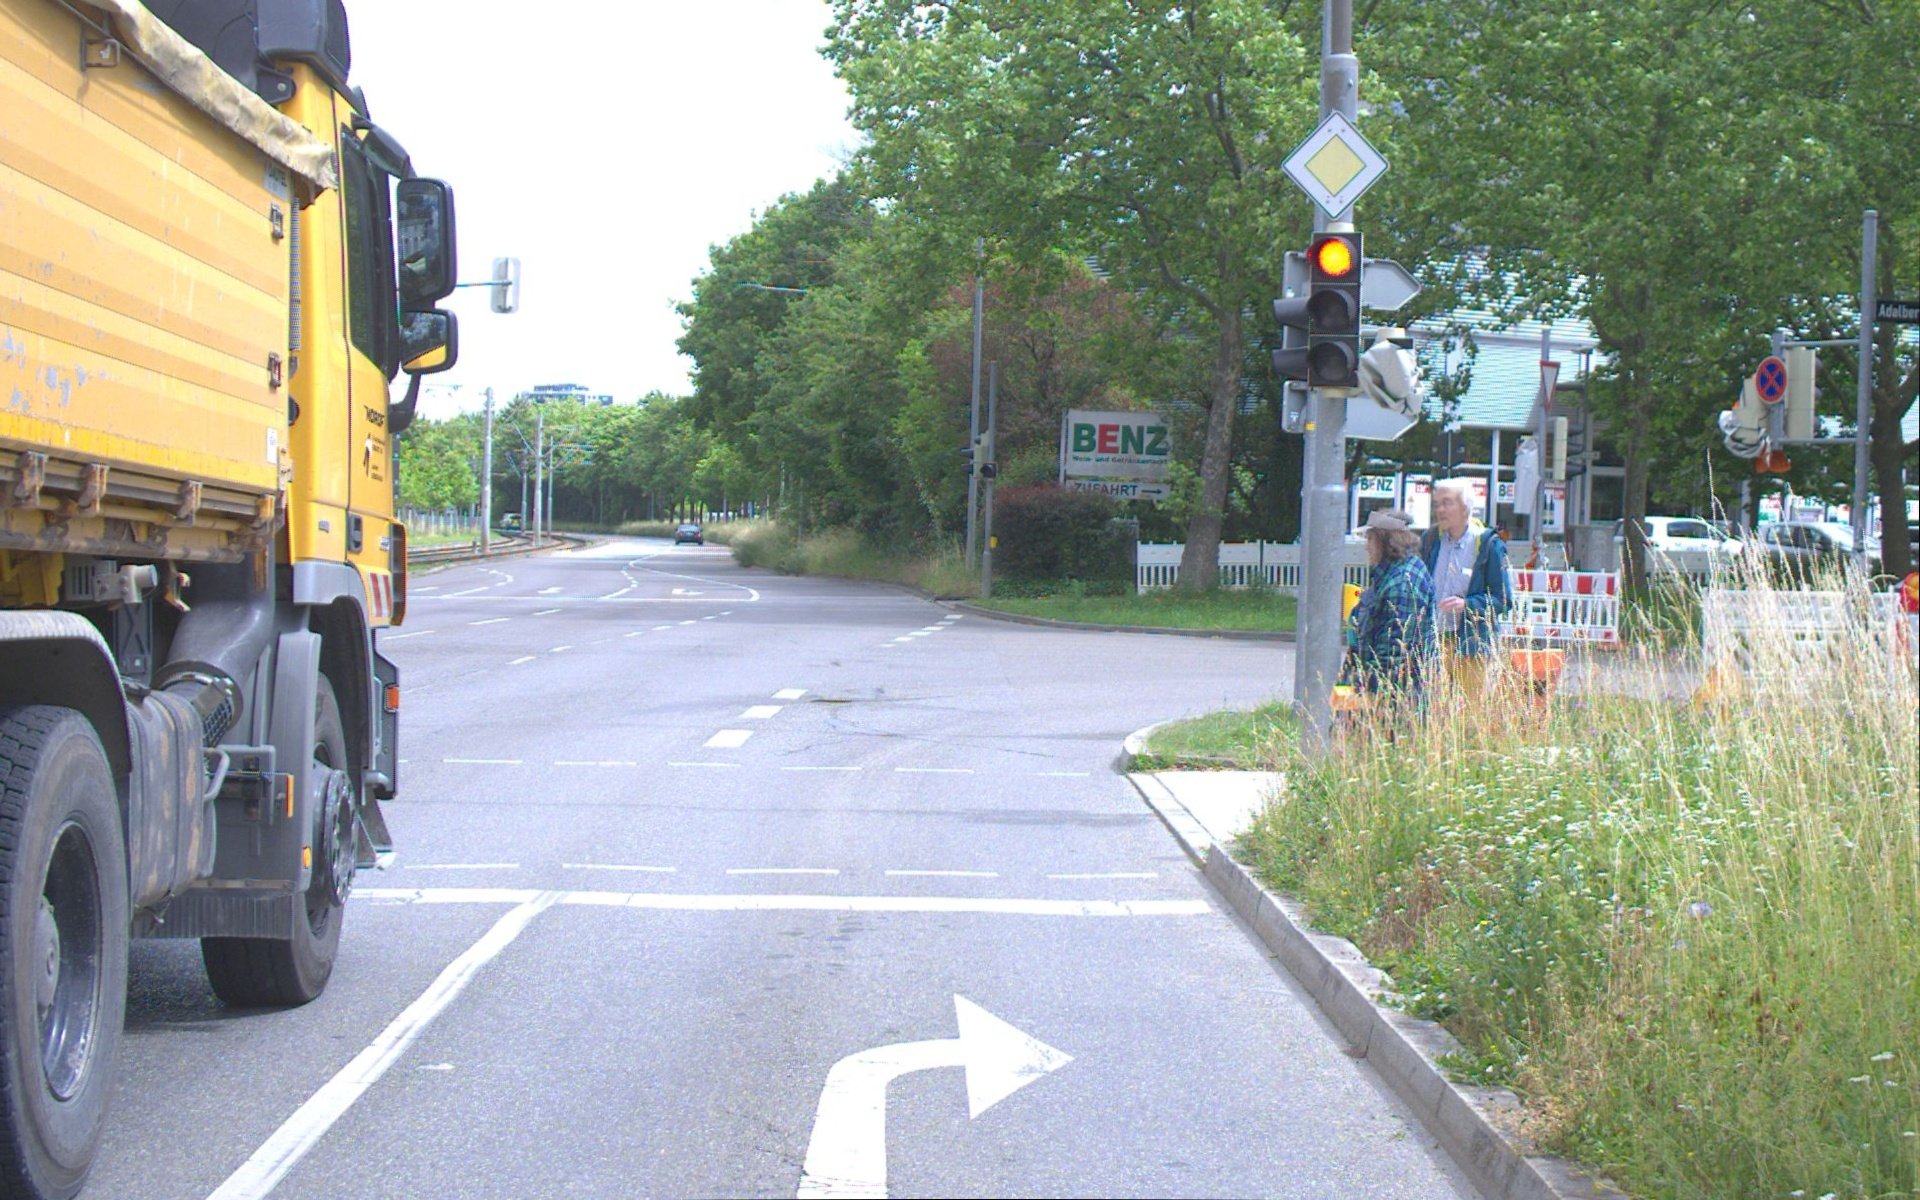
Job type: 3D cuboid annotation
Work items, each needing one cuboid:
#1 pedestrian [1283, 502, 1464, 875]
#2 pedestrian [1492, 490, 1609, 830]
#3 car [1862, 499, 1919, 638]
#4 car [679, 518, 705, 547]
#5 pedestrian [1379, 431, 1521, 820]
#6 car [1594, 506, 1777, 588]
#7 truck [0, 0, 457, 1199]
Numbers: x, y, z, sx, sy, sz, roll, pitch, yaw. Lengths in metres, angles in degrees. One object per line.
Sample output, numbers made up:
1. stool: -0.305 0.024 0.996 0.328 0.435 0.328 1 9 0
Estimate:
1. pedestrian: 1.886 0.391 15.658 0.628 1.647 0.562 2 1 26
2. pedestrian: 3.543 0.354 20.639 0.499 2.007 0.492 1 1 -10
3. car: 12.970 -0.332 40.715 3.987 1.601 2.000 2 1 -1
4. car: -18.715 -4.736 239.625 1.689 1.919 4.001 2 1 -5
5. pedestrian: 2.568 0.132 18.062 0.561 2.007 0.492 1 1 -10
6. car: 16.814 -1.214 79.652 3.988 1.776 2.000 1 2 -38
7. truck: -3.165 -0.285 8.231 2.753 3.302 8.353 2 1 -1
